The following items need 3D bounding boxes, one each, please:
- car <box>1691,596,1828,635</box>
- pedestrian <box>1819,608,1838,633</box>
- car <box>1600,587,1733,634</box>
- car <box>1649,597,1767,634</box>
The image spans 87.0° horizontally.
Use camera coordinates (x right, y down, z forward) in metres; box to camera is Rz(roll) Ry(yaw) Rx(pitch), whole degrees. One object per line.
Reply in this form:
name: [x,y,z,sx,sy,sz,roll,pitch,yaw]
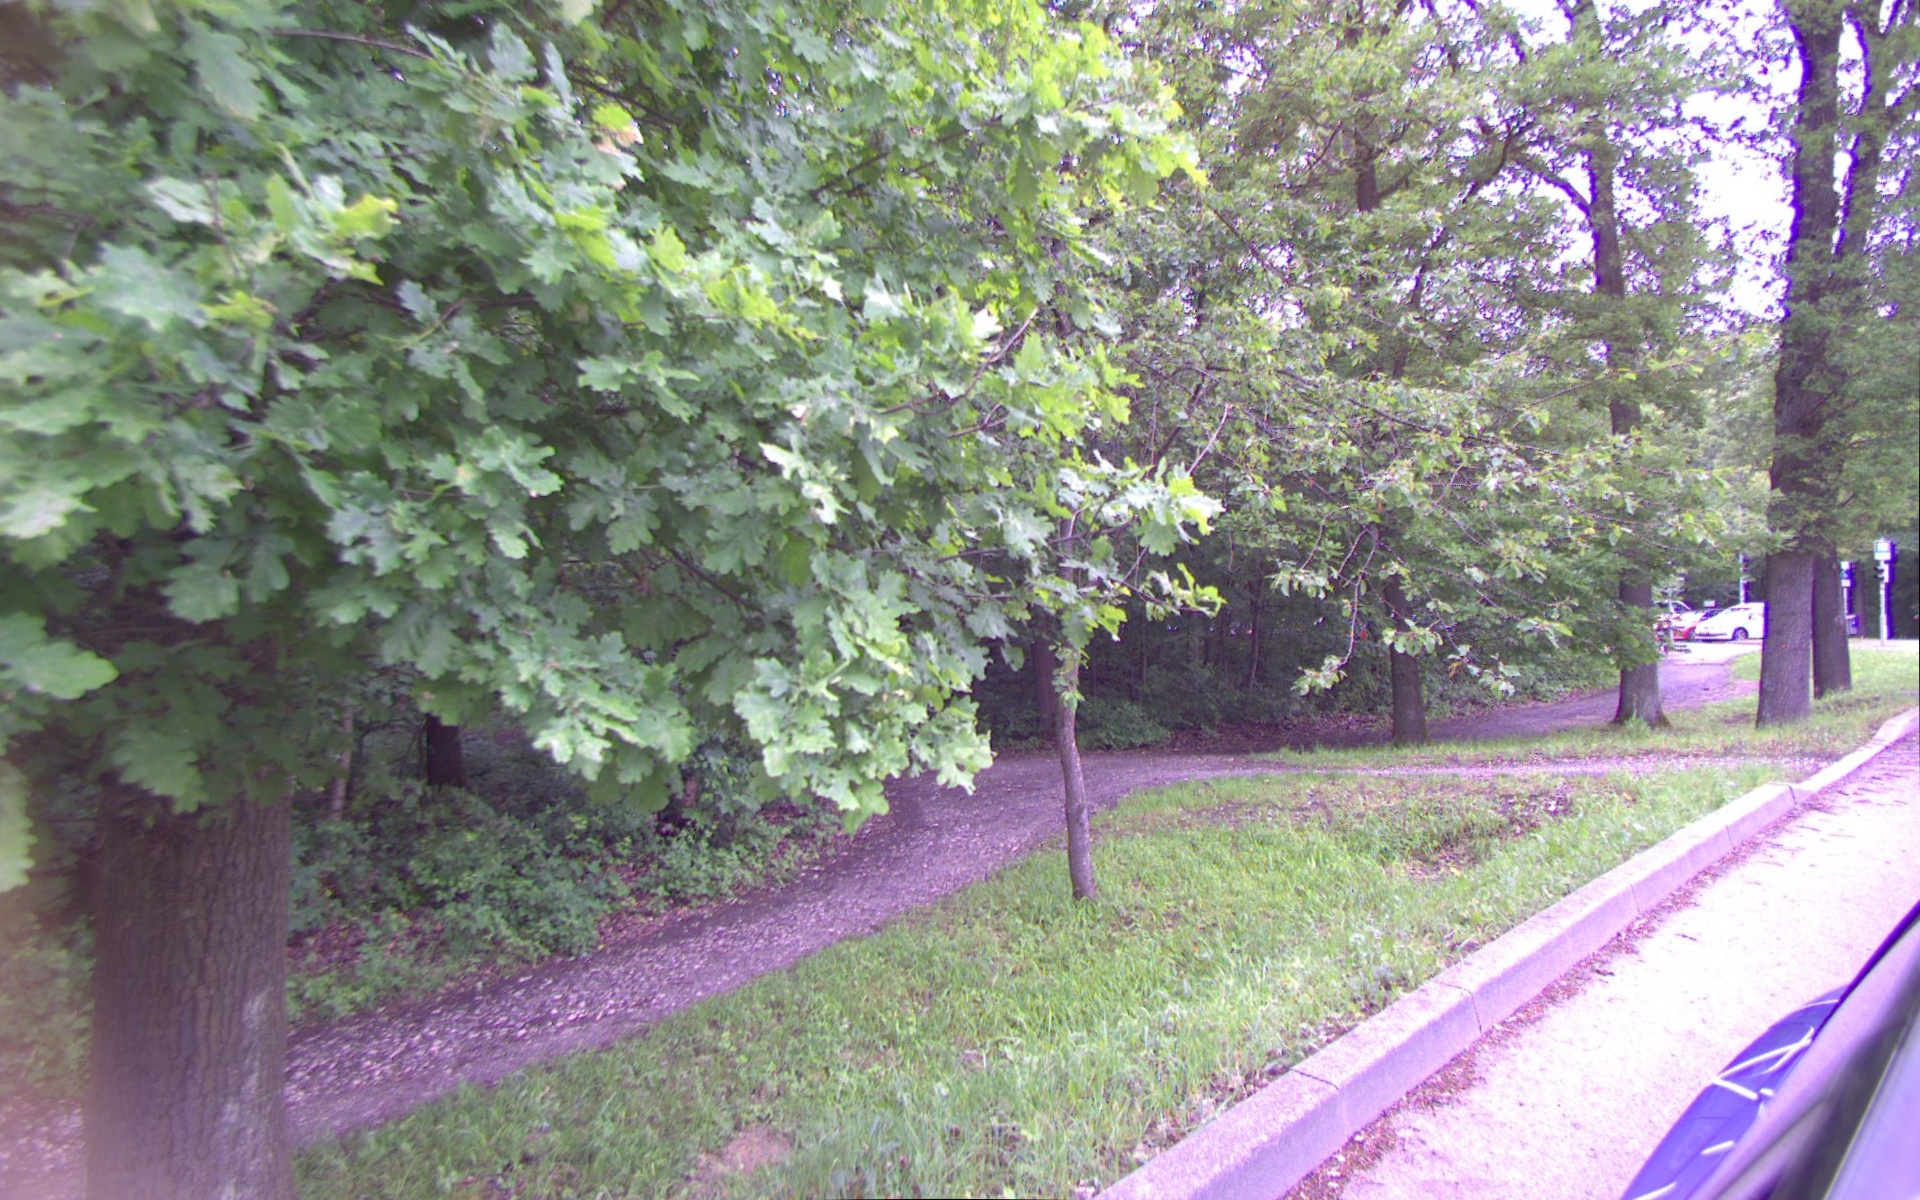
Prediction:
car: [33.970,0.670,43.051,4.332,1.572,2.001,-1,-2,-6]
pedestrian: [59.163,1.413,68.972,1.018,1.672,0.831,1,-3,-43]
car: [33.514,0.527,48.083,5.077,1.982,2.065,-2,-2,-10]
car: [33.615,0.709,45.529,3.920,1.572,1.896,-1,-2,-6]
